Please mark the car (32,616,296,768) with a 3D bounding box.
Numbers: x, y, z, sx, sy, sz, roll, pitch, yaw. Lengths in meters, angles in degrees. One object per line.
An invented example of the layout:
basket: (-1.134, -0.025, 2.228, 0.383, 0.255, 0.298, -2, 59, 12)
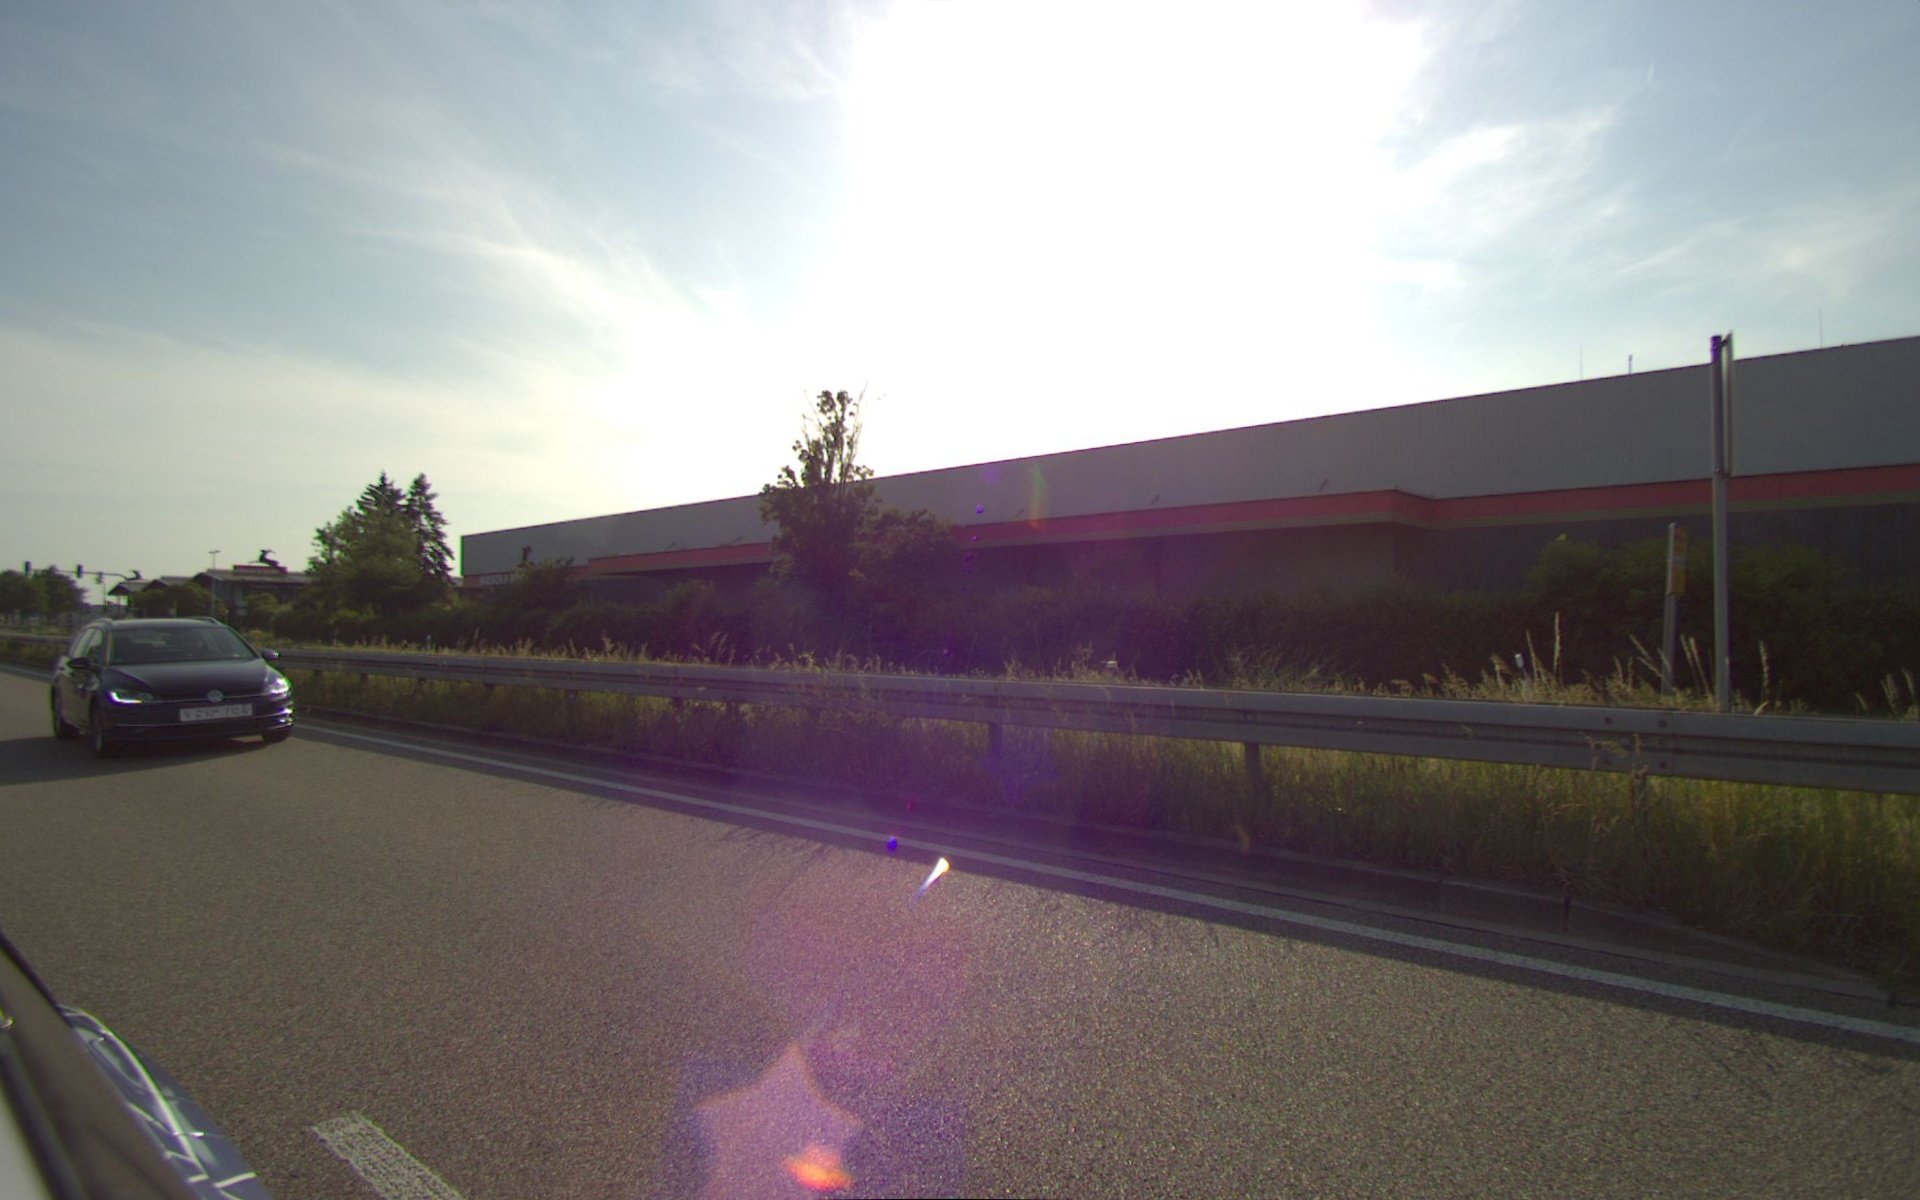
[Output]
car: (-9.671, 0.967, 12.141, 4.773, 1.482, 1.629, -2, -1, 41)
